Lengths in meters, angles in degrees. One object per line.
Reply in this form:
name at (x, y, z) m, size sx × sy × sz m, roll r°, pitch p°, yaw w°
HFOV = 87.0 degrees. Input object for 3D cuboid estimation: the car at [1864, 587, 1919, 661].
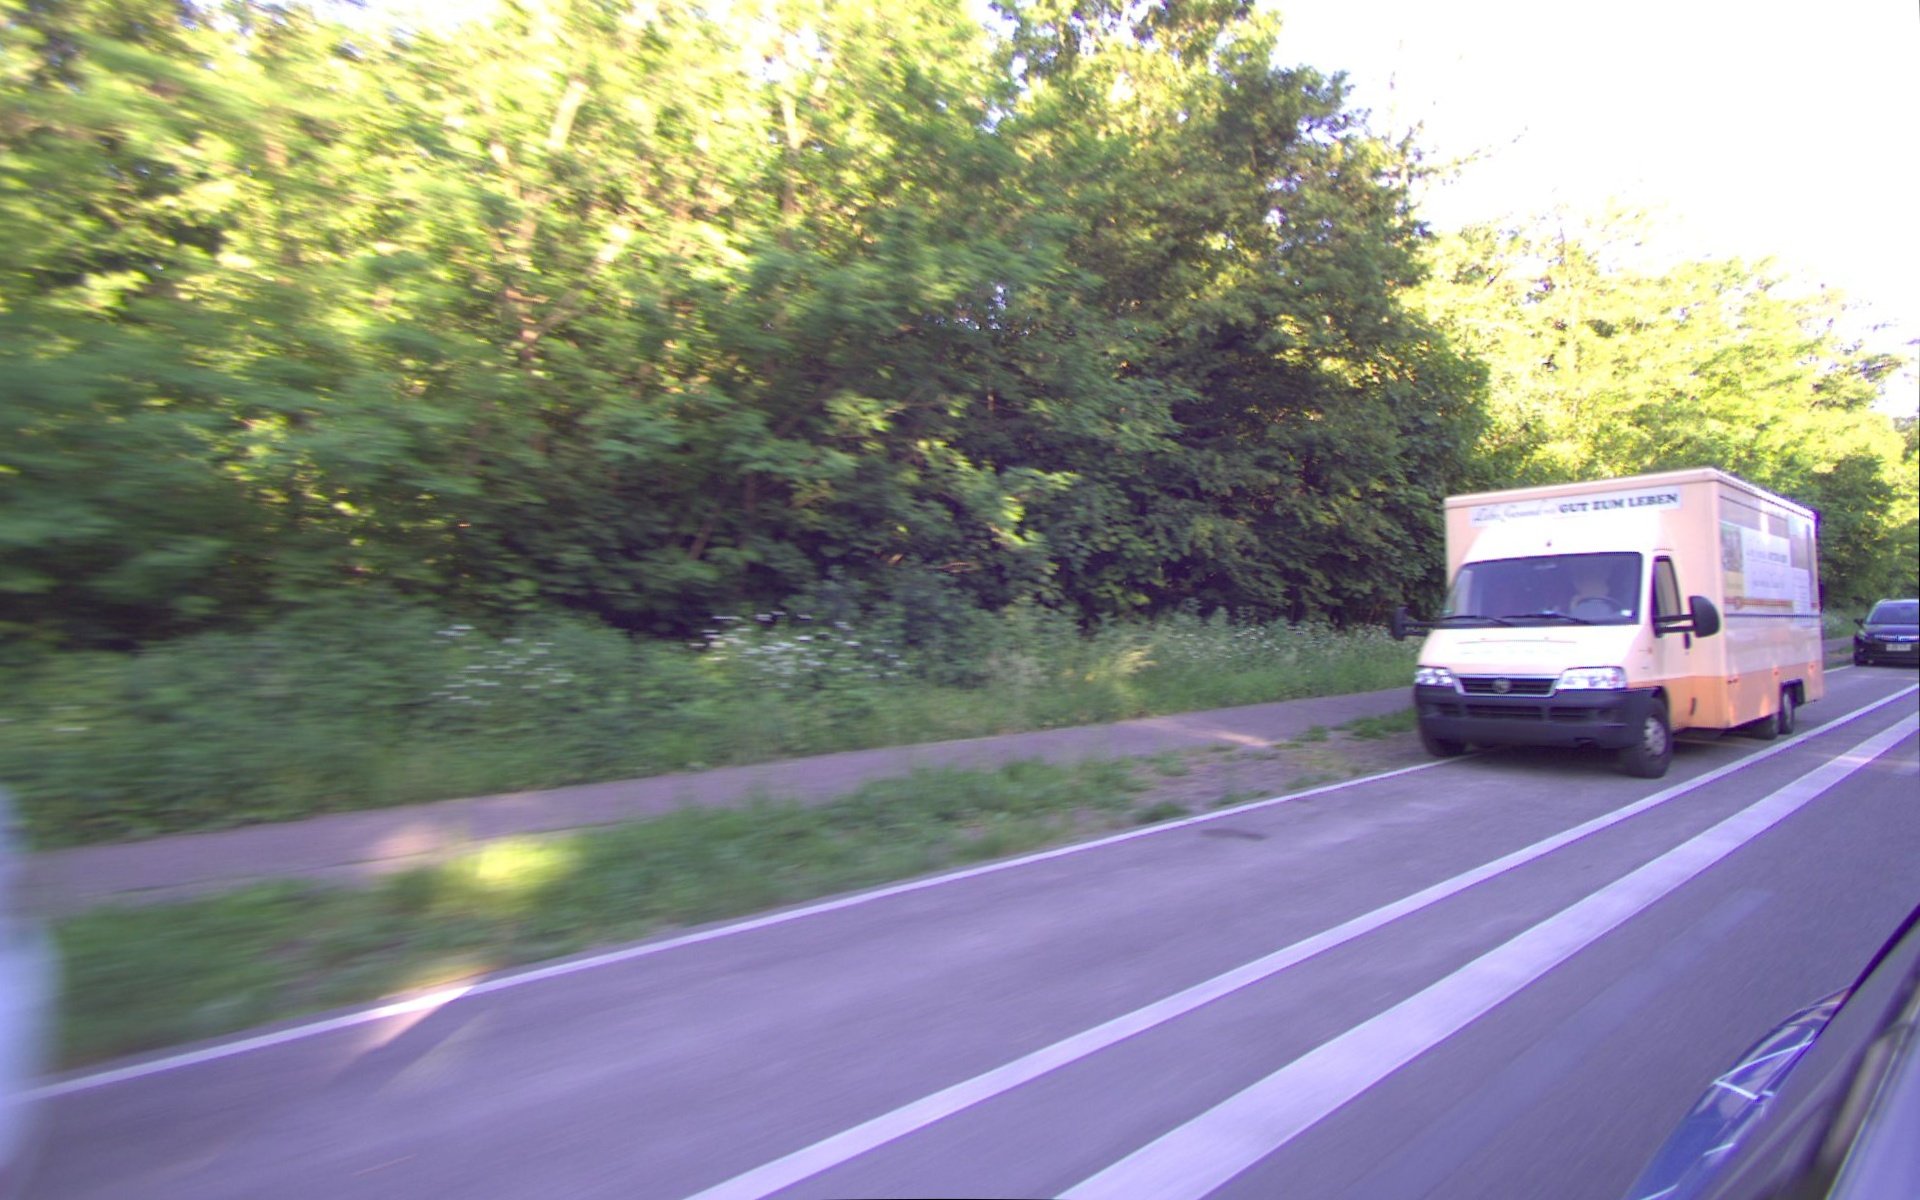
car at (24.047, 0.541, 25.162) m, size 4.521 × 1.711 × 1.802 m, roll -1°, pitch 1°, yaw -41°

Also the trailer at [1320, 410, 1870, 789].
trailer at (8.133, -0.026, 12.044) m, size 9.713 × 2.878 × 2.925 m, roll -1°, pitch -1°, yaw -42°

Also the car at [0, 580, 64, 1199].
car at (-3.762, 0.703, 0.821) m, size 4.489 × 1.486 × 1.891 m, roll 0°, pitch 1°, yaw -41°
